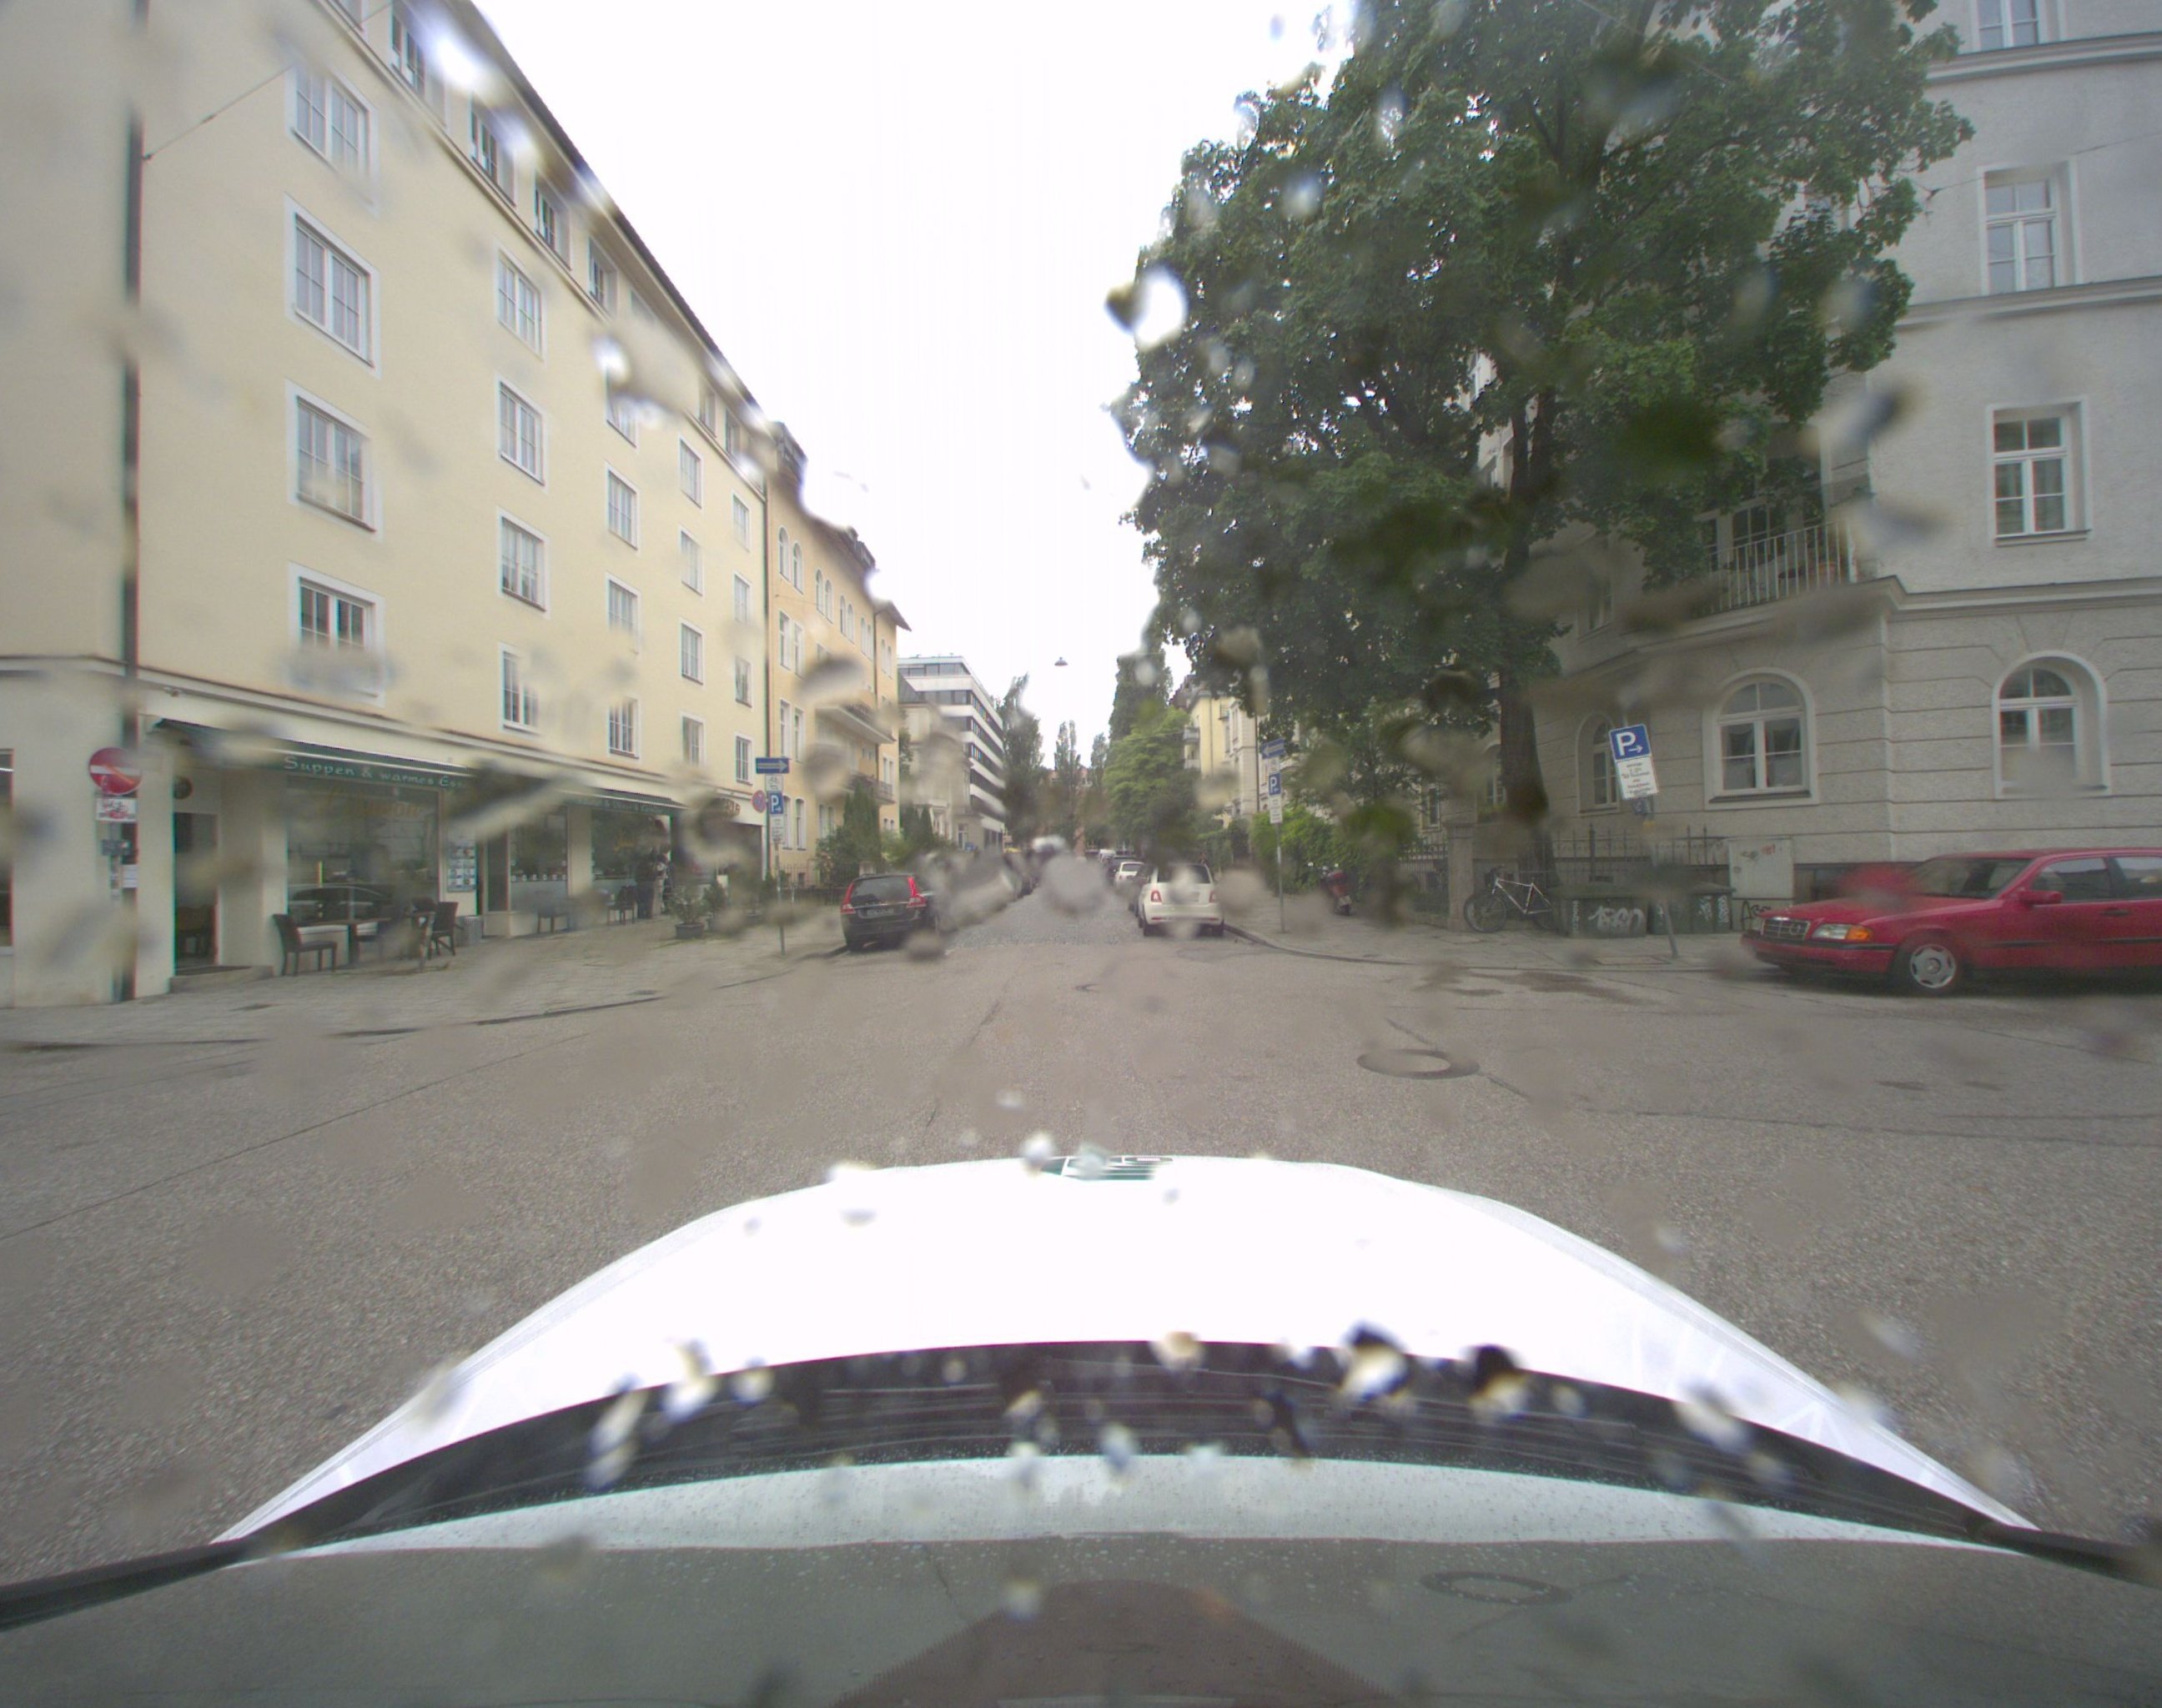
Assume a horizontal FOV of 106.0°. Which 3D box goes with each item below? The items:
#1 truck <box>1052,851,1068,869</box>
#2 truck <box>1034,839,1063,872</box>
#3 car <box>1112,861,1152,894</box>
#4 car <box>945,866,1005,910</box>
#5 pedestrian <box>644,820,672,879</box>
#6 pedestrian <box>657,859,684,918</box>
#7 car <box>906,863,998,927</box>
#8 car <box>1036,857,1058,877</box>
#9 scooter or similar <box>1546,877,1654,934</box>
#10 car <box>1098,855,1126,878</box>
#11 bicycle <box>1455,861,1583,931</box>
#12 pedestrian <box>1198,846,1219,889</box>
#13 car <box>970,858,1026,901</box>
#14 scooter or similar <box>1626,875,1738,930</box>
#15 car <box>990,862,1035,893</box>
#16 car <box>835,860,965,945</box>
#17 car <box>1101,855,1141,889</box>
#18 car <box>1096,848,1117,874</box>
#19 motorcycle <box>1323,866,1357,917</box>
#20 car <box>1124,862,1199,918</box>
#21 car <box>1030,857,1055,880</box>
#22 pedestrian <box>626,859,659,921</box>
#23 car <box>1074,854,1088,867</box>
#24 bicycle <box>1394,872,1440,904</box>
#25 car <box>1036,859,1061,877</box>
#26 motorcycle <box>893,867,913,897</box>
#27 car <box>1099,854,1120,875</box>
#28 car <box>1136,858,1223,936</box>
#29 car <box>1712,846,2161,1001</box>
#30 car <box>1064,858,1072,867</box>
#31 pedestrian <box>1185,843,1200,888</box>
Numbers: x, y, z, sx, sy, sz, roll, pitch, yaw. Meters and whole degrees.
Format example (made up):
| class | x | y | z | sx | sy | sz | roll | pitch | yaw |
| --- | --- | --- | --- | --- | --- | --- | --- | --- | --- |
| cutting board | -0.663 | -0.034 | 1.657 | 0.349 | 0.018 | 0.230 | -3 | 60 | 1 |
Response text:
| class | x | y | z | sx | sy | sz | roll | pitch | yaw |
| --- | --- | --- | --- | --- | --- | --- | --- | --- | --- |
| truck | -2.832 | 0.774 | 109.929 | 1.987 | 2.347 | 4.067 | -1 | -1 | 0 |
| truck | -3.202 | 0.142 | 81.200 | 2.501 | 3.031 | 6.382 | -3 | 0 | -1 |
| car | 2.337 | 1.072 | 38.030 | 1.625 | 1.469 | 3.658 | 1 | -1 | 0 |
| car | -3.577 | 1.126 | 28.078 | 1.770 | 1.359 | 4.384 | -1 | -1 | -4 |
| pedestrian | -11.850 | -0.127 | 22.824 | 0.475 | 1.642 | 0.498 | -1 | -1 | 4 |
| pedestrian | -11.874 | 0.993 | 23.550 | 0.460 | 1.690 | 0.574 | -1 | -1 | 0 |
| car | -3.475 | 1.071 | 22.773 | 1.768 | 1.536 | 4.540 | -2 | -1 | 0 |
| car | -3.072 | 1.151 | 74.809 | 1.889 | 1.751 | 4.165 | -2 | 0 | -1 |
| scooter or similar | 8.244 | 0.806 | 12.987 | 1.176 | 0.848 | 0.927 | -1 | -1 | 9 |
| car | 2.431 | 0.981 | 64.054 | 1.957 | 1.759 | 4.952 | -1 | -1 | 0 |
| bicycle | 7.469 | 0.717 | 13.951 | 1.826 | 1.124 | 0.564 | -2 | -1 | 10 |
| pedestrian | 5.470 | 0.572 | 34.964 | 0.631 | 1.808 | 0.655 | -1 | -1 | -23 |
| car | -3.391 | 1.020 | 34.038 | 1.767 | 1.647 | 4.391 | -1 | -1 | 1 |
| scooter or similar | 9.480 | 0.764 | 12.892 | 1.230 | 0.826 | 0.698 | -1 | -1 | 9 |
| car | -3.322 | 1.132 | 40.218 | 1.768 | 1.429 | 4.390 | -1 | -1 | 0 |
| car | -3.779 | 0.950 | 17.876 | 1.847 | 1.586 | 4.745 | -1 | -1 | -1 |
| car | 2.078 | 0.940 | 43.478 | 1.869 | 1.673 | 5.490 | -1 | -1 | 0 |
| car | 2.552 | 0.682 | 82.441 | 1.889 | 2.426 | 5.609 | 2 | 0 | 0 |
| motorcycle | 5.826 | 0.816 | 18.348 | 0.361 | 1.090 | 1.404 | -1 | -1 | 3 |
| car | 2.241 | 0.973 | 23.714 | 1.643 | 1.422 | 4.630 | 2 | -1 | -1 |
| car | -3.042 | 1.137 | 64.647 | 1.768 | 1.718 | 4.389 | -1 | -1 | -1 |
| pedestrian | -11.842 | 0.966 | 22.011 | 0.520 | 1.642 | 0.629 | -1 | -1 | 0 |
| car | -0.026 | 1.042 | 124.959 | 1.989 | 1.936 | 4.001 | -1 | -1 | 2 |
| bicycle | 9.249 | 0.908 | 22.493 | 0.489 | 0.812 | 2.276 | -1 | -1 | 5 |
| car | -2.771 | 1.235 | 70.014 | 1.934 | 1.459 | 4.056 | -1 | -1 | -1 |
| motorcycle | -7.538 | 1.174 | 34.540 | 0.489 | 1.194 | 1.579 | -1 | 0 | 0 |
| car | 2.679 | 1.005 | 76.981 | 1.794 | 1.950 | 4.858 | 1 | -1 | 0 |
| car | 2.032 | 0.859 | 17.694 | 1.496 | 1.471 | 3.796 | -2 | -1 | 1 |
| car | 9.491 | 0.656 | 8.374 | 4.443 | 1.358 | 1.764 | -2 | 0 | 7 |
| car | -2.195 | 1.422 | 135.950 | 1.272 | 1.541 | 3.118 | -1 | -1 | 0 |
| pedestrian | 4.755 | 0.489 | 34.681 | 0.572 | 1.850 | 0.683 | -2 | -1 | 8 |
